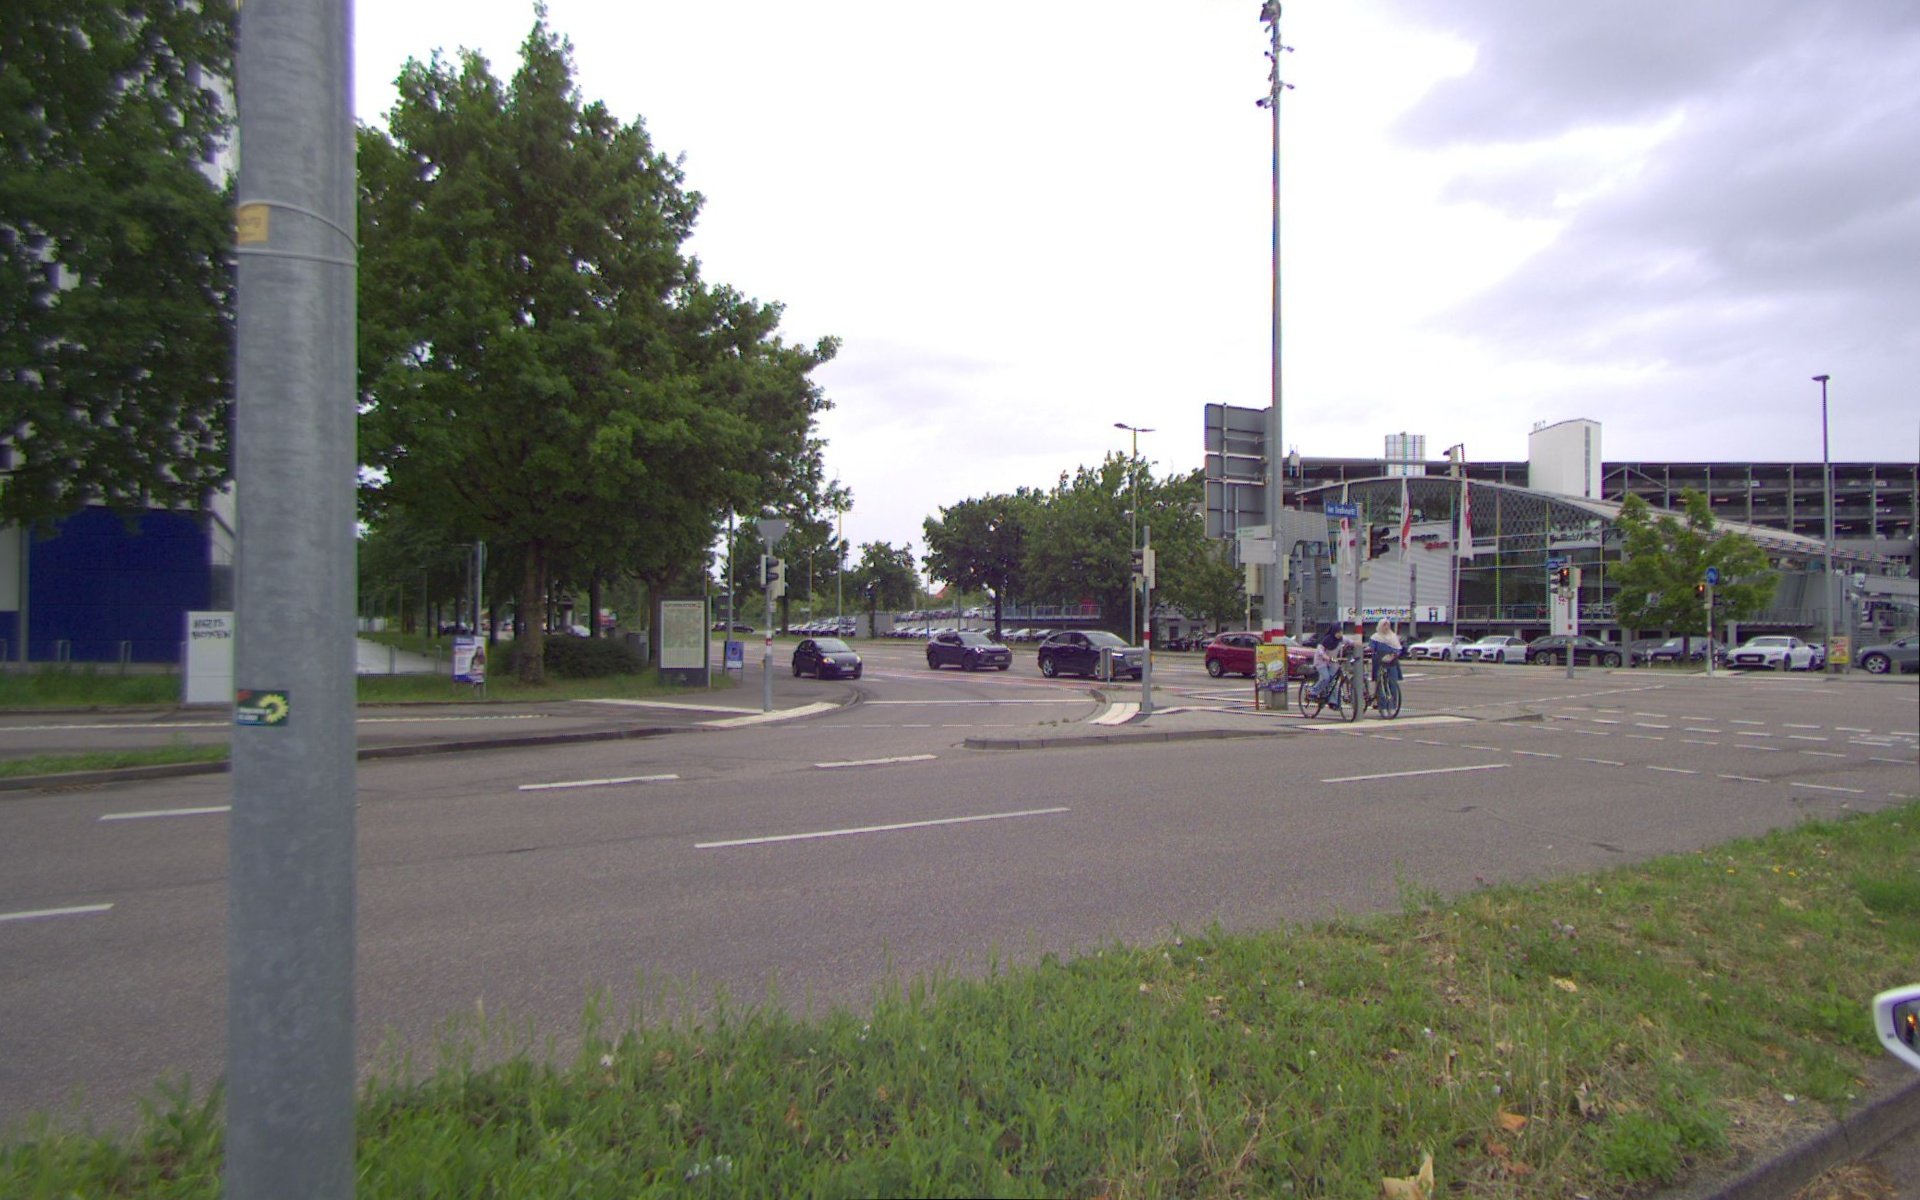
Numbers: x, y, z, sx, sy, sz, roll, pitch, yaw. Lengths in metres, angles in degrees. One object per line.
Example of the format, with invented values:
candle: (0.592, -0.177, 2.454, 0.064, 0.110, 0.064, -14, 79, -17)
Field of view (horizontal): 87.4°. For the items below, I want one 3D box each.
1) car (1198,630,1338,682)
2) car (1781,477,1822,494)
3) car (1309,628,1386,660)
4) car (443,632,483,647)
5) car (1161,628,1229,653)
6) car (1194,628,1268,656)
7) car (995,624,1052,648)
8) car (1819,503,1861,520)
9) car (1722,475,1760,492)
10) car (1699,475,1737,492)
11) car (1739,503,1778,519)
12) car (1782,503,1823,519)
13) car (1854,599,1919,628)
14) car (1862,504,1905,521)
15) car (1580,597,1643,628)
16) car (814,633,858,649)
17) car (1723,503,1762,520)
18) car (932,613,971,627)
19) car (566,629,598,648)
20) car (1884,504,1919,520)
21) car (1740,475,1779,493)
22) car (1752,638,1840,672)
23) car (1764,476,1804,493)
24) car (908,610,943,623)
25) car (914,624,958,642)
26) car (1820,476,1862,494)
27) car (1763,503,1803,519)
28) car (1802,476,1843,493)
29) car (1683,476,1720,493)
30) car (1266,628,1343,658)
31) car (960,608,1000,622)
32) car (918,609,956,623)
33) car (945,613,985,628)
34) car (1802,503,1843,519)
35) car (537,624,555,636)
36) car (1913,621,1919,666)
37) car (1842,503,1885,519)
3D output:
car: (9.713, 1.747, 31.894, 1.723, 1.507, 4.039, 0, -2, -35)
car: (108.687, -14.801, 129.762, 1.960, 1.689, 4.001, 1, -1, 2)
car: (21.122, 2.406, 54.716, 4.148, 1.505, 1.891, 5, -3, -34)
car: (-57.923, 4.638, 117.066, 3.962, 1.639, 1.785, 2, 0, -36)
car: (14.970, 2.585, 63.913, 4.175, 1.439, 1.838, 4, -3, -34)
car: (16.664, 2.571, 61.670, 4.617, 1.491, 1.830, 5, -3, -34)
car: (5.128, 2.911, 80.371, 4.169, 1.505, 1.940, 7, -3, -34)
car: (113.340, -11.396, 129.458, 1.960, 1.689, 4.001, 1, -1, 2)
car: (101.144, -15.063, 130.126, 1.960, 1.689, 4.001, 1, -1, 2)
car: (98.328, -15.065, 130.340, 1.960, 1.689, 4.001, 1, -1, 2)
car: (103.449, -11.499, 130.231, 1.960, 1.689, 4.001, 1, -1, 2)
car: (108.693, -11.489, 129.617, 1.960, 1.689, 4.001, 1, -1, 2)
car: (64.401, 0.921, 69.110, 1.740, 1.862, 3.965, 2, 0, -32)
car: (118.899, -11.268, 129.426, 1.960, 1.689, 4.001, 1, -1, 2)
car: (38.921, 0.749, 59.993, 3.960, 1.684, 1.808, 2, 0, -35)
car: (-13.615, 4.463, 110.222, 4.413, 1.592, 1.981, 0, -1, -34)
car: (101.240, -11.448, 129.979, 1.960, 1.689, 4.001, 1, -1, 2)
car: (-0.980, 2.441, 120.205, 4.306, 1.516, 1.951, 2, 0, -35)
car: (-31.471, 3.208, 83.562, 1.684, 1.507, 4.081, 0, -2, -33)
car: (121.689, -11.326, 129.290, 1.960, 1.689, 4.001, 1, -1, 2)
car: (103.352, -14.980, 129.935, 1.960, 1.689, 4.001, 1, -1, 2)
car: (52.882, 3.463, 63.572, 1.742, 1.862, 3.961, 2, 0, -35)
car: (106.414, -14.887, 129.775, 1.960, 1.689, 4.001, 1, -1, 2)
car: (-4.278, 2.047, 124.217, 4.058, 1.516, 1.713, 2, 0, -35)
car: (-2.166, 2.961, 90.847, 3.639, 1.506, 1.696, 2, 0, -34)
car: (113.495, -14.799, 129.472, 1.960, 1.689, 4.001, 1, -1, 2)
car: (106.234, -11.516, 129.733, 1.960, 1.689, 4.001, 1, -1, 2)
car: (111.322, -14.888, 129.690, 1.960, 1.689, 4.001, 1, -1, 2)
car: (96.109, -14.998, 130.172, 1.960, 1.689, 4.001, 1, -1, 2)
car: (19.608, 2.463, 57.134, 4.335, 1.489, 1.877, 5, -3, -34)
car: (2.283, 1.726, 115.672, 4.306, 1.516, 1.863, 2, 0, -35)
car: (-2.785, 1.959, 122.074, 4.306, 1.516, 1.863, 2, 0, -35)
car: (0.583, 2.408, 118.195, 4.306, 1.516, 2.049, 2, 0, -35)
car: (111.194, -11.450, 129.565, 1.960, 1.689, 4.001, 1, -1, 2)
car: (-65.565, 4.768, 159.143, 2.118, 1.684, 3.750, 2, 0, -31)
car: (45.785, 1.918, 44.578, 1.981, 2.040, 4.742, 2, -4, -35)
car: (116.310, -11.419, 129.321, 1.960, 1.689, 4.001, 1, -1, 2)
